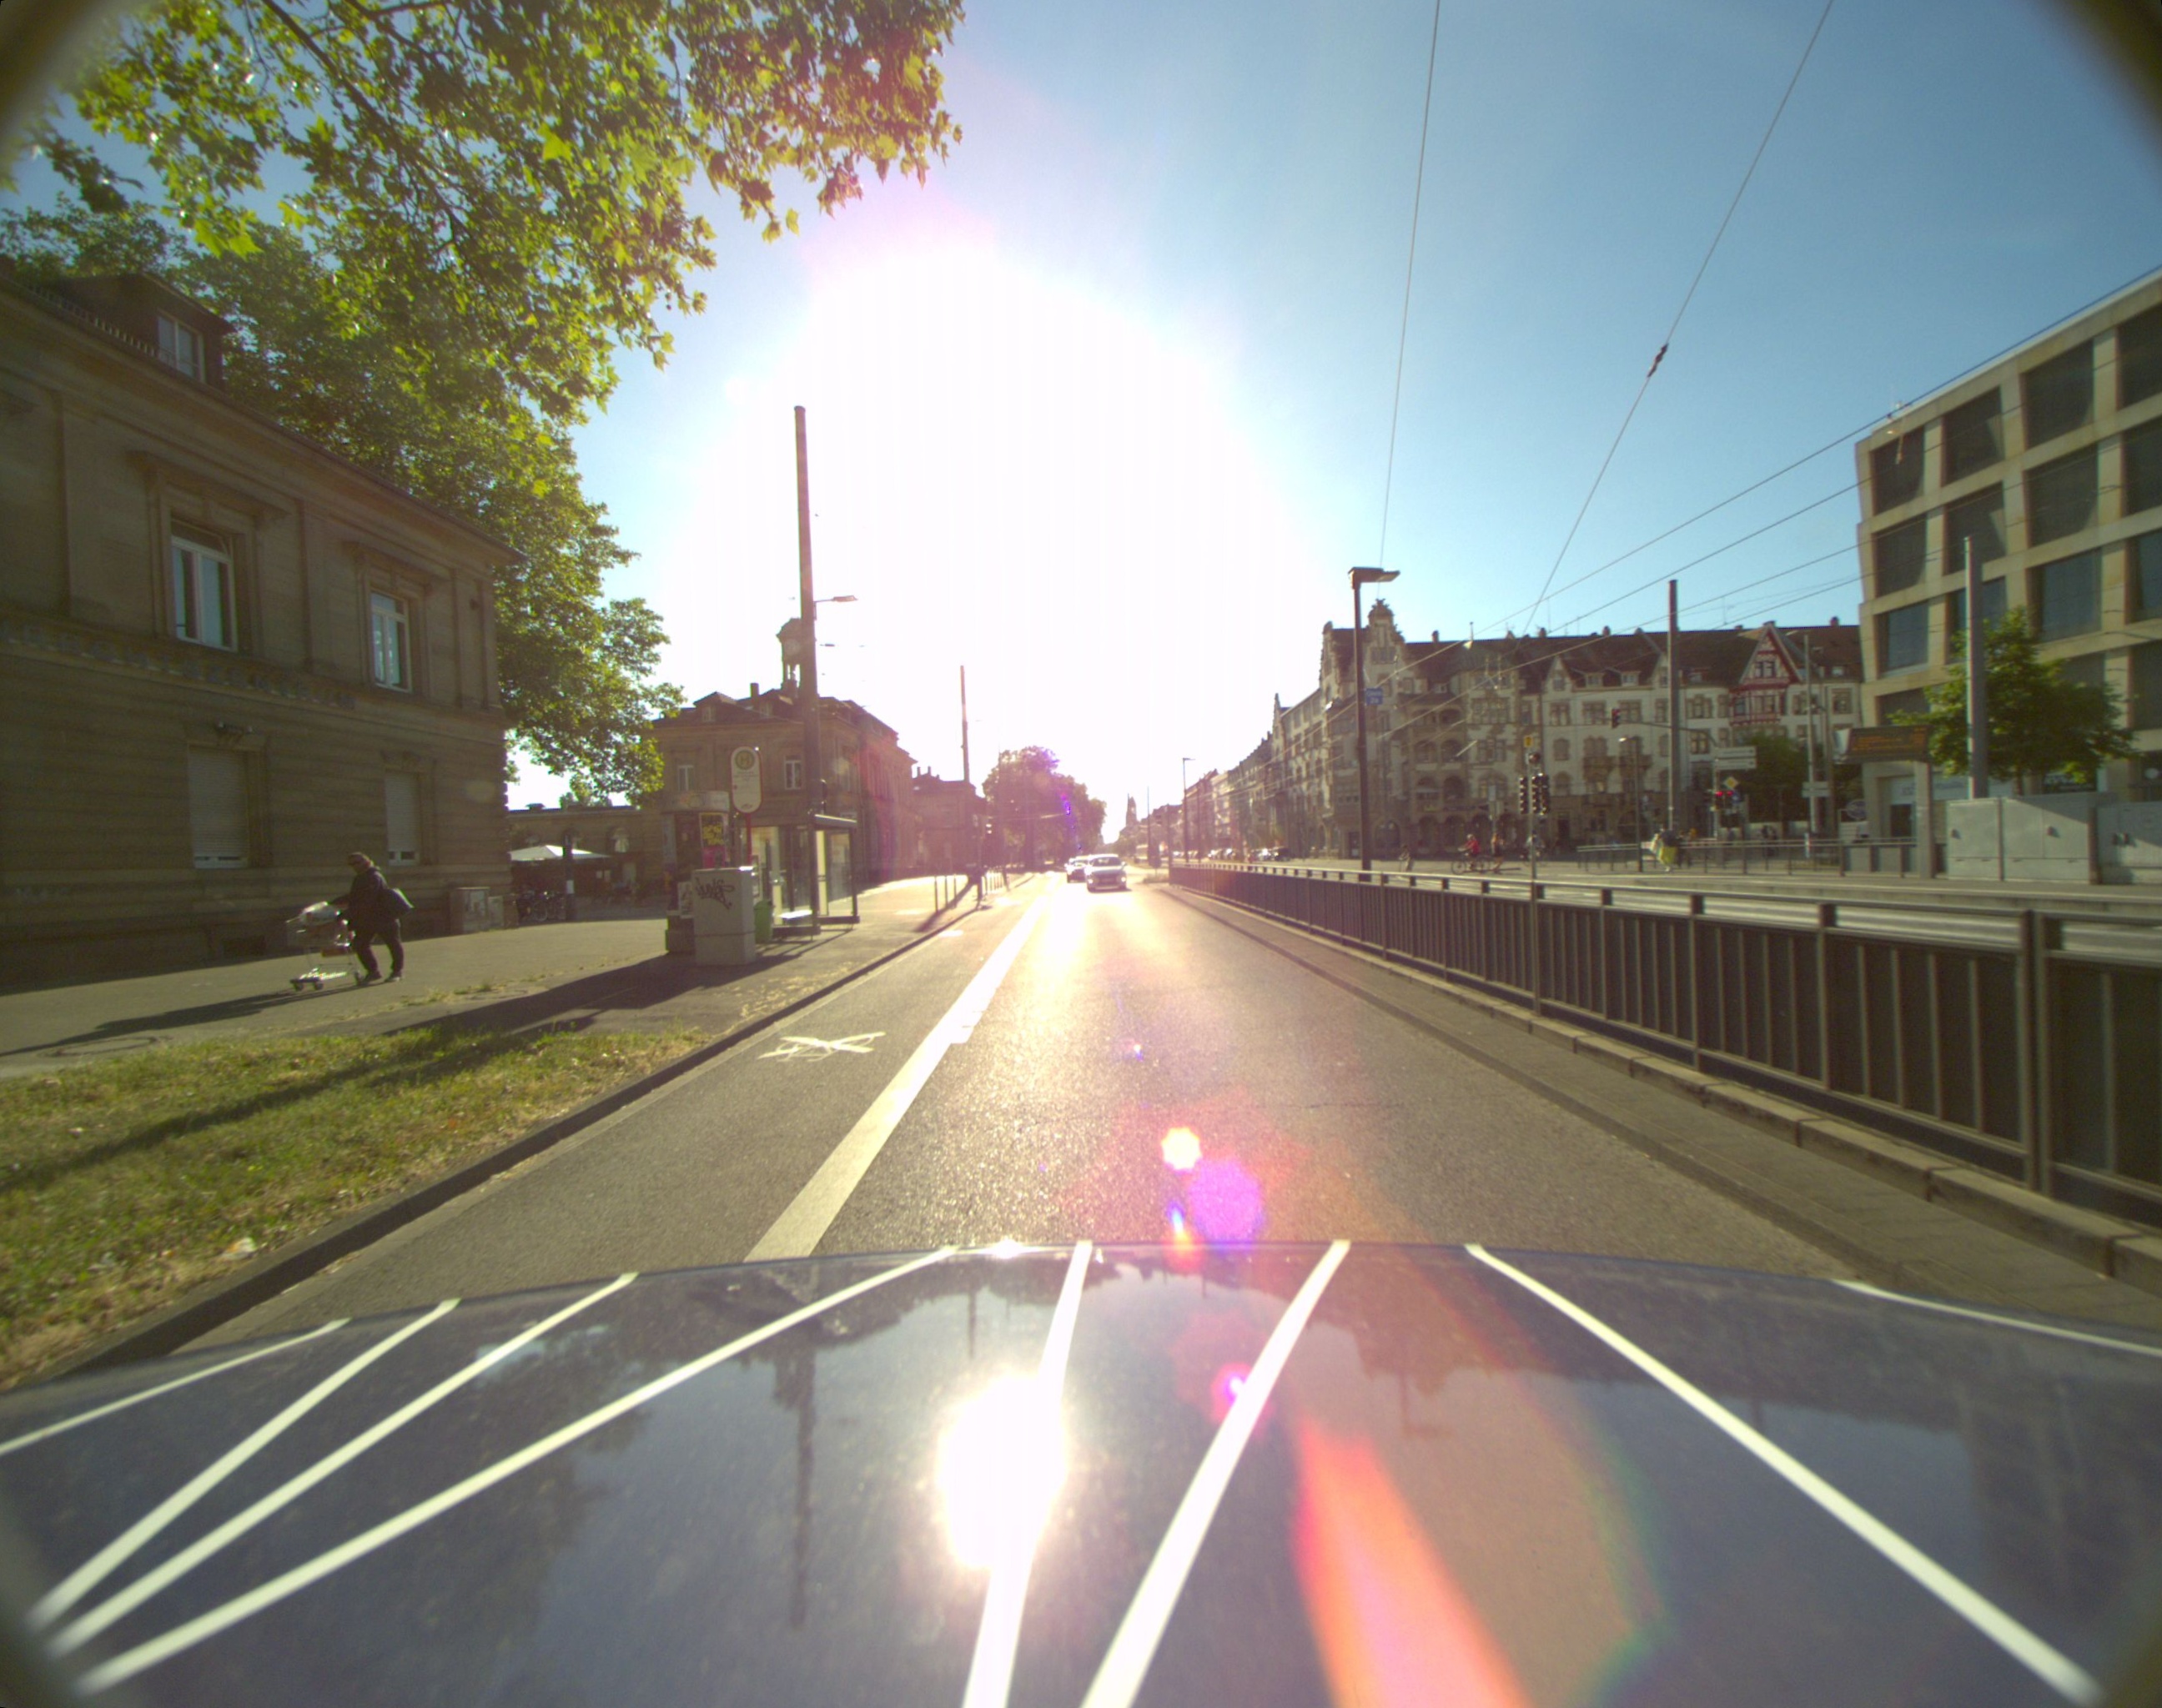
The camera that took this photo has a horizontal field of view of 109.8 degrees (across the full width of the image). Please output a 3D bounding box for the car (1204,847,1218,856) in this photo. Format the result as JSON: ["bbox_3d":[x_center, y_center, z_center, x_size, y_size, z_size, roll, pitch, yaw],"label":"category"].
[{"bbox_3d":[22.808,-0.475,133.306,1.741,1.516,4.000,-4,0,1],"label":"car"}]

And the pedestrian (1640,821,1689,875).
[{"bbox_3d":[18.273,-0.181,23.822,0.795,1.635,0.933,-2,1,2],"label":"pedestrian"}]

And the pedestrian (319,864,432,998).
[{"bbox_3d":[-9.575,1.007,10.352,0.771,1.734,0.796,-1,1,-5],"label":"pedestrian"}]

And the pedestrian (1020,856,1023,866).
[{"bbox_3d":[-9.570,1.071,121.515,0.364,1.635,0.390,-2,1,1],"label":"pedestrian"}]

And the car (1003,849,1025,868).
[{"bbox_3d":[-8.044,0.503,91.405,1.833,2.034,4.000,-3,1,4],"label":"car"}]

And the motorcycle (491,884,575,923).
[{"bbox_3d":[-18.562,1.677,25.758,2.224,1.153,0.887,-3,1,8],"label":"motorcycle"}]

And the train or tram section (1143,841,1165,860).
[{"bbox_3d":[14.898,-0.610,156.945,2.781,3.378,19.475,-3,0,1],"label":"train or tram section"}]

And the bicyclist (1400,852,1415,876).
[{"bbox_3d":[14.252,0.437,33.145,0.462,0.987,0.511,-2,1,10],"label":"bicyclist"}]

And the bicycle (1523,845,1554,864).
[{"bbox_3d":[24.136,0.013,40.108,1.891,0.906,0.513,-2,1,-29],"label":"bicycle"}]

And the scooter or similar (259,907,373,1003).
[{"bbox_3d":[-10.071,1.305,10.031,0.720,1.149,0.759,-1,1,-5],"label":"scooter or similar"}]

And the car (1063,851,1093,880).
[{"bbox_3d":[-0.144,0.677,45.708,1.649,1.555,3.666,-3,0,0],"label":"car"}]

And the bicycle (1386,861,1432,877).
[{"bbox_3d":[14.309,0.636,33.173,1.724,0.605,0.512,-3,1,10],"label":"bicycle"}]

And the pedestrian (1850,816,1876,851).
[{"bbox_3d":[38.431,-1.014,37.352,0.616,1.672,0.583,-2,1,6],"label":"pedestrian"}]

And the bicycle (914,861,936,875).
[{"bbox_3d":[-13.159,1.167,64.125,1.650,1.174,0.690,-1,1,-2],"label":"bicycle"}]

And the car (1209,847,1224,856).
[{"bbox_3d":[22.959,-0.428,128.589,1.741,1.516,4.000,-4,0,1],"label":"car"}]

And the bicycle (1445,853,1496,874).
[{"bbox_3d":[17.001,0.412,33.197,1.888,0.873,0.608,-2,1,9],"label":"bicycle"}]

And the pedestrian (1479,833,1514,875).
[{"bbox_3d":[17.081,0.001,31.258,0.933,1.635,0.795,-2,1,-13],"label":"pedestrian"}]

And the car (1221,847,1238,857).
[{"bbox_3d":[22.889,-0.289,117.137,1.741,1.516,4.000,-4,0,1],"label":"car"}]

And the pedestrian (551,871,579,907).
[{"bbox_3d":[-25.951,1.741,38.230,1.039,1.734,0.996,-3,2,-38],"label":"pedestrian"}]

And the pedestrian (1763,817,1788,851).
[{"bbox_3d":[34.770,-0.978,38.062,0.616,1.672,0.639,-2,1,-3],"label":"pedestrian"}]

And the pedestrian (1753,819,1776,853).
[{"bbox_3d":[34.102,-0.900,37.904,0.616,1.672,0.582,-2,1,-2],"label":"pedestrian"}]

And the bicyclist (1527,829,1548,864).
[{"bbox_3d":[24.111,-0.409,40.100,0.669,1.797,0.646,-2,1,-28],"label":"bicyclist"}]

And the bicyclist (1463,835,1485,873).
[{"bbox_3d":[17.135,-0.001,33.166,0.629,1.609,0.684,-2,1,9],"label":"bicyclist"}]

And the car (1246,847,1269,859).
[{"bbox_3d":[23.251,-0.107,100.036,1.741,1.516,3.998,-4,0,-4],"label":"car"}]

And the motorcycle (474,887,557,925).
[{"bbox_3d":[-18.476,1.689,24.849,2.081,1.096,0.887,-3,1,8],"label":"motorcycle"}]

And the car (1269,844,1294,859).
[{"bbox_3d":[23.386,-0.285,88.856,1.780,1.660,3.999,-2,0,-1],"label":"car"}]

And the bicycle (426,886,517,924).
[{"bbox_3d":[-23.829,1.979,29.755,2.669,1.271,0.781,-3,1,-12],"label":"bicycle"}]

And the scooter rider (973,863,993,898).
[{"bbox_3d":[-4.119,1.102,31.835,0.703,1.389,0.600,-2,1,1],"label":"scooter rider"}]

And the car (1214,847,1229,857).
[{"bbox_3d":[22.780,-0.356,123.294,1.741,1.516,4.000,-4,0,1],"label":"car"}]

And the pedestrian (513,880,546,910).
[{"bbox_3d":[-26.737,1.970,36.854,0.772,1.371,1.000,0,1,13],"label":"pedestrian"}]

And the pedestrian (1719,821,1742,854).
[{"bbox_3d":[33.388,-0.840,39.067,0.616,1.672,0.582,-2,1,-2],"label":"pedestrian"}]

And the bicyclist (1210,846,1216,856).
[{"bbox_3d":[21.093,-0.483,121.403,0.683,1.609,0.630,-2,1,-1],"label":"bicyclist"}]

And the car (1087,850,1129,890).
[{"bbox_3d":[1.118,0.645,32.693,1.649,1.555,3.666,-3,0,0],"label":"car"}]

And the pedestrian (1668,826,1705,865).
[{"bbox_3d":[26.235,-0.376,32.918,0.933,1.635,0.795,-2,1,-13],"label":"pedestrian"}]

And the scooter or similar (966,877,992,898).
[{"bbox_3d":[-4.276,1.396,31.753,1.023,0.807,0.265,-2,1,1],"label":"scooter or similar"}]

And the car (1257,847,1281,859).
[{"bbox_3d":[23.361,-0.102,94.635,1.727,1.467,4.432,-2,0,-2],"label":"car"}]

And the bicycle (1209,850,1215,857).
[{"bbox_3d":[20.928,-0.067,121.422,0.607,0.996,2.068,-2,0,-2],"label":"bicycle"}]
